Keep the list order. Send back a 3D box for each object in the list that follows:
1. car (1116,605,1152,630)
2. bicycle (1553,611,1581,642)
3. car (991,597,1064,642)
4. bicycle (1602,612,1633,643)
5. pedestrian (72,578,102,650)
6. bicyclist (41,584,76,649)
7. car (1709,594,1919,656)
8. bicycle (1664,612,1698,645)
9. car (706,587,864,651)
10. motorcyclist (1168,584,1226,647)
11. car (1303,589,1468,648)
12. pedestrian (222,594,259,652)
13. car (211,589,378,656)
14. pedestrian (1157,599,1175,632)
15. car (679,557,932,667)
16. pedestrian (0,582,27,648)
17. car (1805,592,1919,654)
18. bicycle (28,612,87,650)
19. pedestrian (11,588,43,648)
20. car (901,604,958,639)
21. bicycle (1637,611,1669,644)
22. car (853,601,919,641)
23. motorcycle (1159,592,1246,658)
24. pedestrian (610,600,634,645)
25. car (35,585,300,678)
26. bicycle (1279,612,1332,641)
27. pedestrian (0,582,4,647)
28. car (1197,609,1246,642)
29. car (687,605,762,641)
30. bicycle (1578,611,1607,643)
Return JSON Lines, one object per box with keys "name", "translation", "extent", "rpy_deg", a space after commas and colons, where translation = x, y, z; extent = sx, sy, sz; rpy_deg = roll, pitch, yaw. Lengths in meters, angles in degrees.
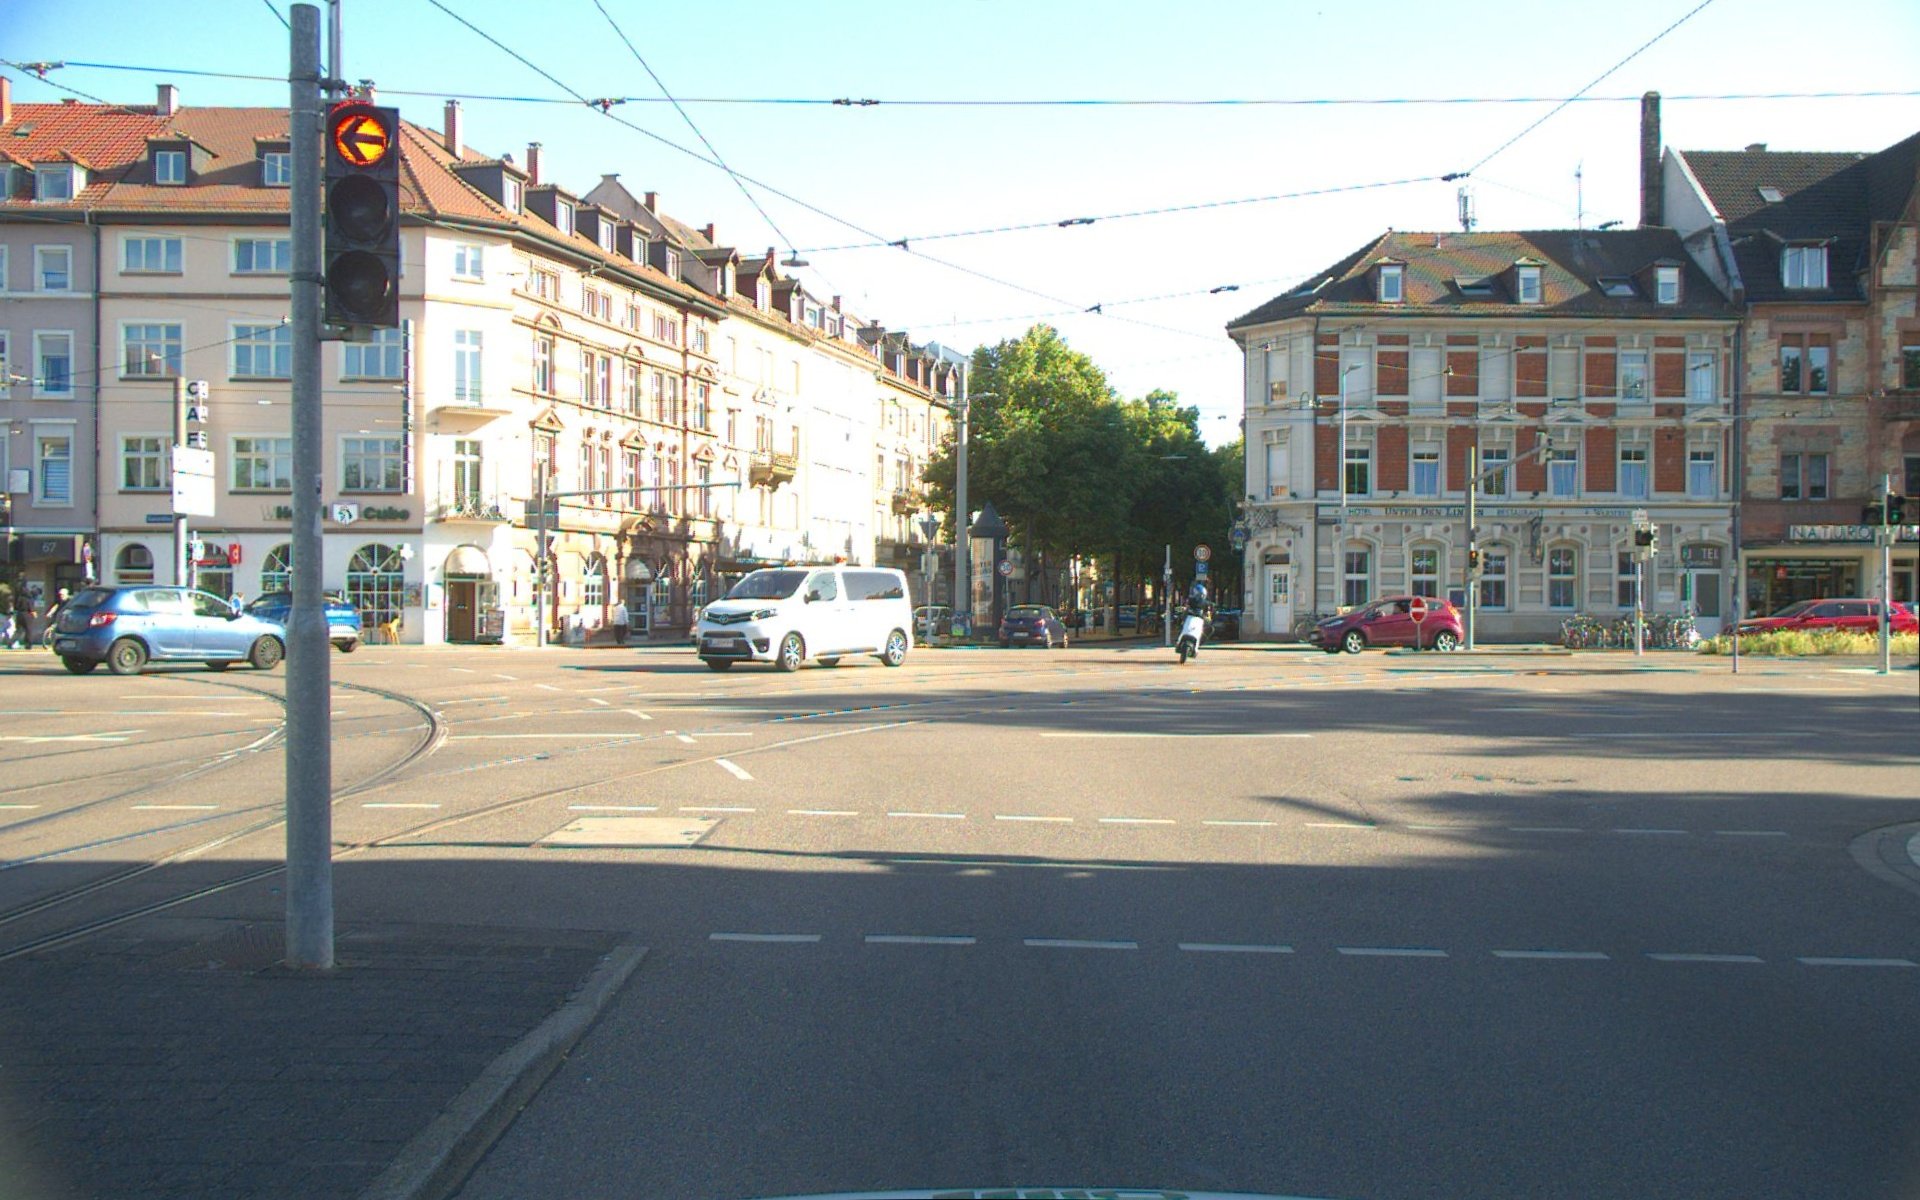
{"name": "car", "translation": [12.328, 1.225, 116.773], "extent": [1.951, 1.713, 4.003], "rpy_deg": [1, 0, 15]}
{"name": "bicycle", "translation": [19.795, 0.859, 53.981], "extent": [0.749, 0.979, 2.211], "rpy_deg": [1, 0, 17]}
{"name": "car", "translation": [2.273, 0.621, 54.864], "extent": [1.786, 1.428, 4.003], "rpy_deg": [0, 0, 12]}
{"name": "bicycle", "translation": [21.343, 0.886, 53.698], "extent": [0.749, 1.001, 2.211], "rpy_deg": [1, 0, 17]}
{"name": "pedestrian", "translation": [-22.732, 0.353, 43.075], "extent": [0.519, 1.854, 0.673], "rpy_deg": [1, -1, -16]}
{"name": "bicyclist", "translation": [-25.576, 0.475, 46.942], "extent": [0.608, 1.822, 0.615], "rpy_deg": [1, -1, 4]}
{"name": "car", "translation": [22.295, 0.635, 43.100], "extent": [4.759, 1.495, 1.803], "rpy_deg": [0, 1, 0]}
{"name": "bicycle", "translation": [23.295, 0.905, 53.486], "extent": [0.775, 1.033, 2.211], "rpy_deg": [1, 0, 17]}
{"name": "car", "translation": [-4.339, 0.446, 41.553], "extent": [1.859, 1.479, 3.997], "rpy_deg": [0, 1, 33]}
{"name": "motorcyclist", "translation": [5.007, 0.326, 34.932], "extent": [0.775, 1.323, 1.012], "rpy_deg": [1, -1, 41]}
{"name": "car", "translation": [10.896, 0.470, 42.474], "extent": [3.794, 1.451, 1.594], "rpy_deg": [0, 1, -6]}
{"name": "pedestrian", "translation": [-20.248, 0.648, 46.551], "extent": [0.655, 1.622, 0.815], "rpy_deg": [1, -1, -1]}
{"name": "car", "translation": [-17.086, 0.544, 42.442], "extent": [4.107, 1.602, 1.828], "rpy_deg": [1, 0, 30]}
{"name": "pedestrian", "translation": [12.996, 1.000, 104.213], "extent": [0.925, 2.049, 0.825], "rpy_deg": [1, -1, -7]}
{"name": "car", "translation": [-2.786, 0.234, 31.140], "extent": [1.958, 1.886, 5.201], "rpy_deg": [0, -1, 33]}
{"name": "pedestrian", "translation": [-24.385, 0.387, 42.473], "extent": [0.512, 1.677, 0.497], "rpy_deg": [1, -1, -1]}
{"name": "car", "translation": [25.921, 0.638, 46.023], "extent": [3.905, 1.650, 1.804], "rpy_deg": [1, 0, 0]}
{"name": "bicycle", "translation": [-25.584, 0.880, 46.919], "extent": [0.608, 1.048, 1.755], "rpy_deg": [1, 0, 4]}
{"name": "pedestrian", "translation": [-23.896, 0.466, 42.382], "extent": [0.481, 1.518, 0.556], "rpy_deg": [1, -1, -1]}
{"name": "car", "translation": [-1.443, 1.036, 79.713], "extent": [1.764, 1.603, 3.893], "rpy_deg": [1, 0, 15]}
{"name": "bicycle", "translation": [22.475, 0.892, 53.667], "extent": [0.749, 1.025, 2.221], "rpy_deg": [1, 0, 17]}
{"name": "car", "translation": [-3.236, 0.931, 73.368], "extent": [1.786, 1.715, 3.877], "rpy_deg": [1, 0, 16]}
{"name": "motorcycle", "translation": [5.134, 0.526, 34.859], "extent": [0.782, 1.357, 2.130], "rpy_deg": [1, -1, 41]}
{"name": "pedestrian", "translation": [-12.873, 0.859, 63.009], "extent": [0.556, 1.671, 0.792], "rpy_deg": [1, -1, 22]}
{"name": "car", "translation": [-13.944, 0.519, 29.277], "extent": [1.753, 1.530, 3.907], "rpy_deg": [-1, 0, 34]}
{"name": "bicycle", "translation": [11.982, 0.906, 57.281], "extent": [1.764, 0.979, 0.604], "rpy_deg": [1, 0, 14]}
{"name": "pedestrian", "translation": [-24.936, 0.378, 42.440], "extent": [0.512, 1.677, 0.497], "rpy_deg": [1, -1, -1]}
{"name": "car", "translation": [13.102, 1.274, 82.684], "extent": [1.719, 1.583, 4.001], "rpy_deg": [1, 0, 20]}
{"name": "car", "translation": [-9.466, 0.926, 66.852], "extent": [1.624, 1.398, 3.894], "rpy_deg": [1, 0, 14]}
{"name": "bicycle", "translation": [20.564, 0.872, 53.791], "extent": [0.749, 0.985, 2.211], "rpy_deg": [1, 0, 17]}
